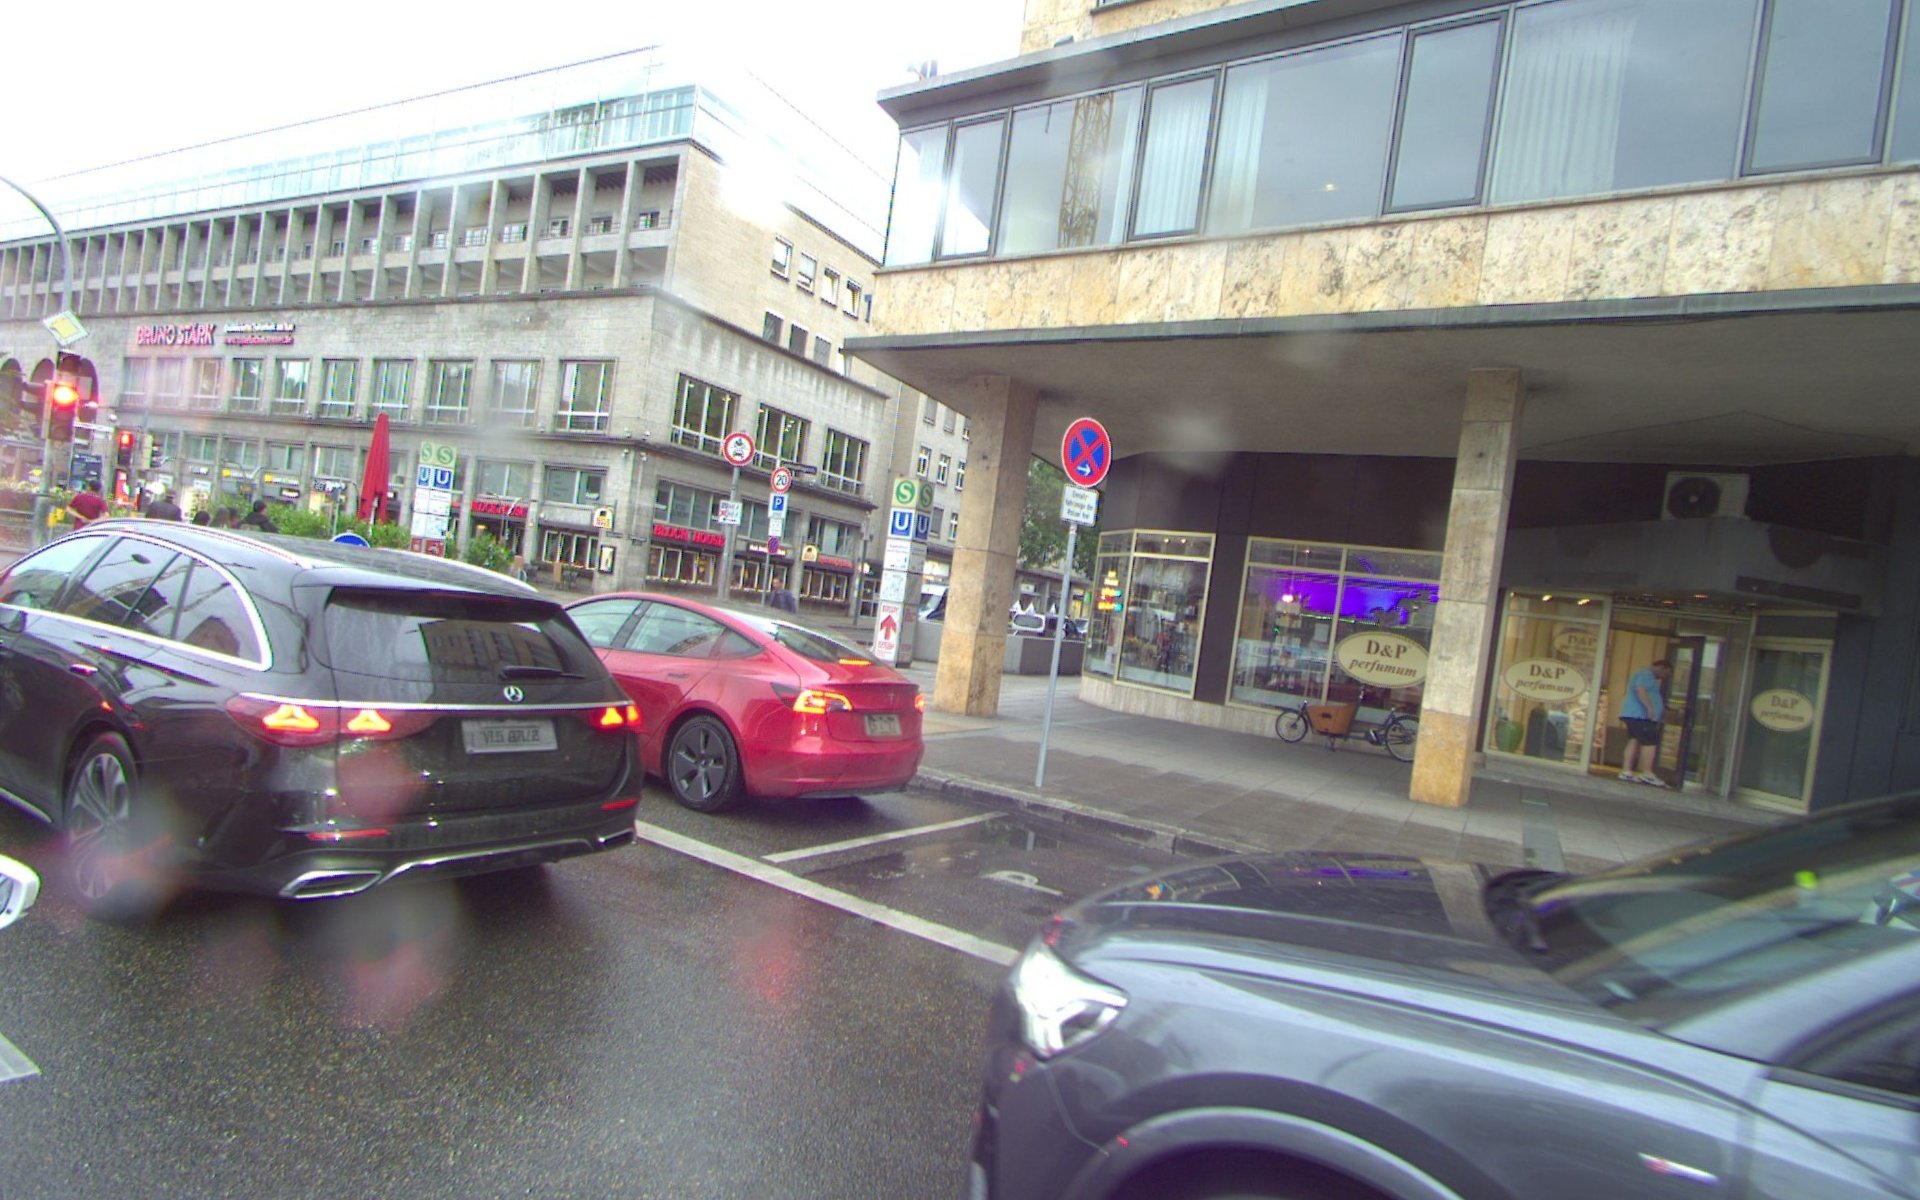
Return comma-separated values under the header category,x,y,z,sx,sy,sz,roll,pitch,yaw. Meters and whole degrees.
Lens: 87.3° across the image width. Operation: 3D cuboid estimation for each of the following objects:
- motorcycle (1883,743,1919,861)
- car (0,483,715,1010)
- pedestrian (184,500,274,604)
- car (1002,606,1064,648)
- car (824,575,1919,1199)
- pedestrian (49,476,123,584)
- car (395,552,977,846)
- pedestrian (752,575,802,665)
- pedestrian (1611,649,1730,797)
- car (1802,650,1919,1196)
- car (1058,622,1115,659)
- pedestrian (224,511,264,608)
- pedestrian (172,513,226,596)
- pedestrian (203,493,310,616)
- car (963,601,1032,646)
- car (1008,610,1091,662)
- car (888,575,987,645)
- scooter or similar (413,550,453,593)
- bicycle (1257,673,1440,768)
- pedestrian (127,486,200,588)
category,x,y,z,sx,sy,sz,roll,pitch,yaw
motorcycle,11.129,2.278,10.492,2.074,1.232,0.567,6,-2,40
car,-3.585,0.360,5.013,4.552,1.519,1.797,6,-2,32
pedestrian,-12.693,-0.826,17.469,0.884,1.645,0.795,7,-1,28
car,4.628,1.727,63.160,1.966,2.065,4.483,7,-2,29
car,2.069,1.001,1.667,4.271,1.519,1.882,6,-2,32
pedestrian,-15.234,-1.202,17.550,0.561,1.772,0.678,7,-1,-15
car,-2.321,0.649,8.158,4.451,1.503,1.879,6,-2,31
pedestrian,-3.817,0.419,20.978,0.768,1.777,0.503,8,-1,-15
pedestrian,9.707,1.666,13.748,1.119,1.811,0.798,6,-1,39
car,5.953,1.420,3.008,4.853,1.942,1.878,6,-2,31
car,8.872,2.863,70.365,1.967,2.065,4.831,7,-2,31
pedestrian,-13.557,-0.768,19.040,0.479,1.774,0.659,4,2,-38
pedestrian,-14.120,-0.839,18.676,0.627,1.444,0.485,8,-1,-36
pedestrian,-10.924,-0.684,15.643,0.642,1.774,1.097,7,2,29
car,2.219,1.407,58.432,1.966,2.065,4.557,7,-2,29
car,4.230,1.715,46.842,1.966,1.995,4.638,7,-1,29
car,-1.022,0.588,51.198,1.965,2.792,6.185,7,-2,28
scooter or similar,-16.380,-0.881,31.269,1.000,1.203,0.291,7,-1,13
bicycle,5.902,1.806,15.355,2.431,1.058,0.657,6,-1,32
pedestrian,-14.652,-1.146,18.509,0.458,1.737,0.757,7,-1,28
